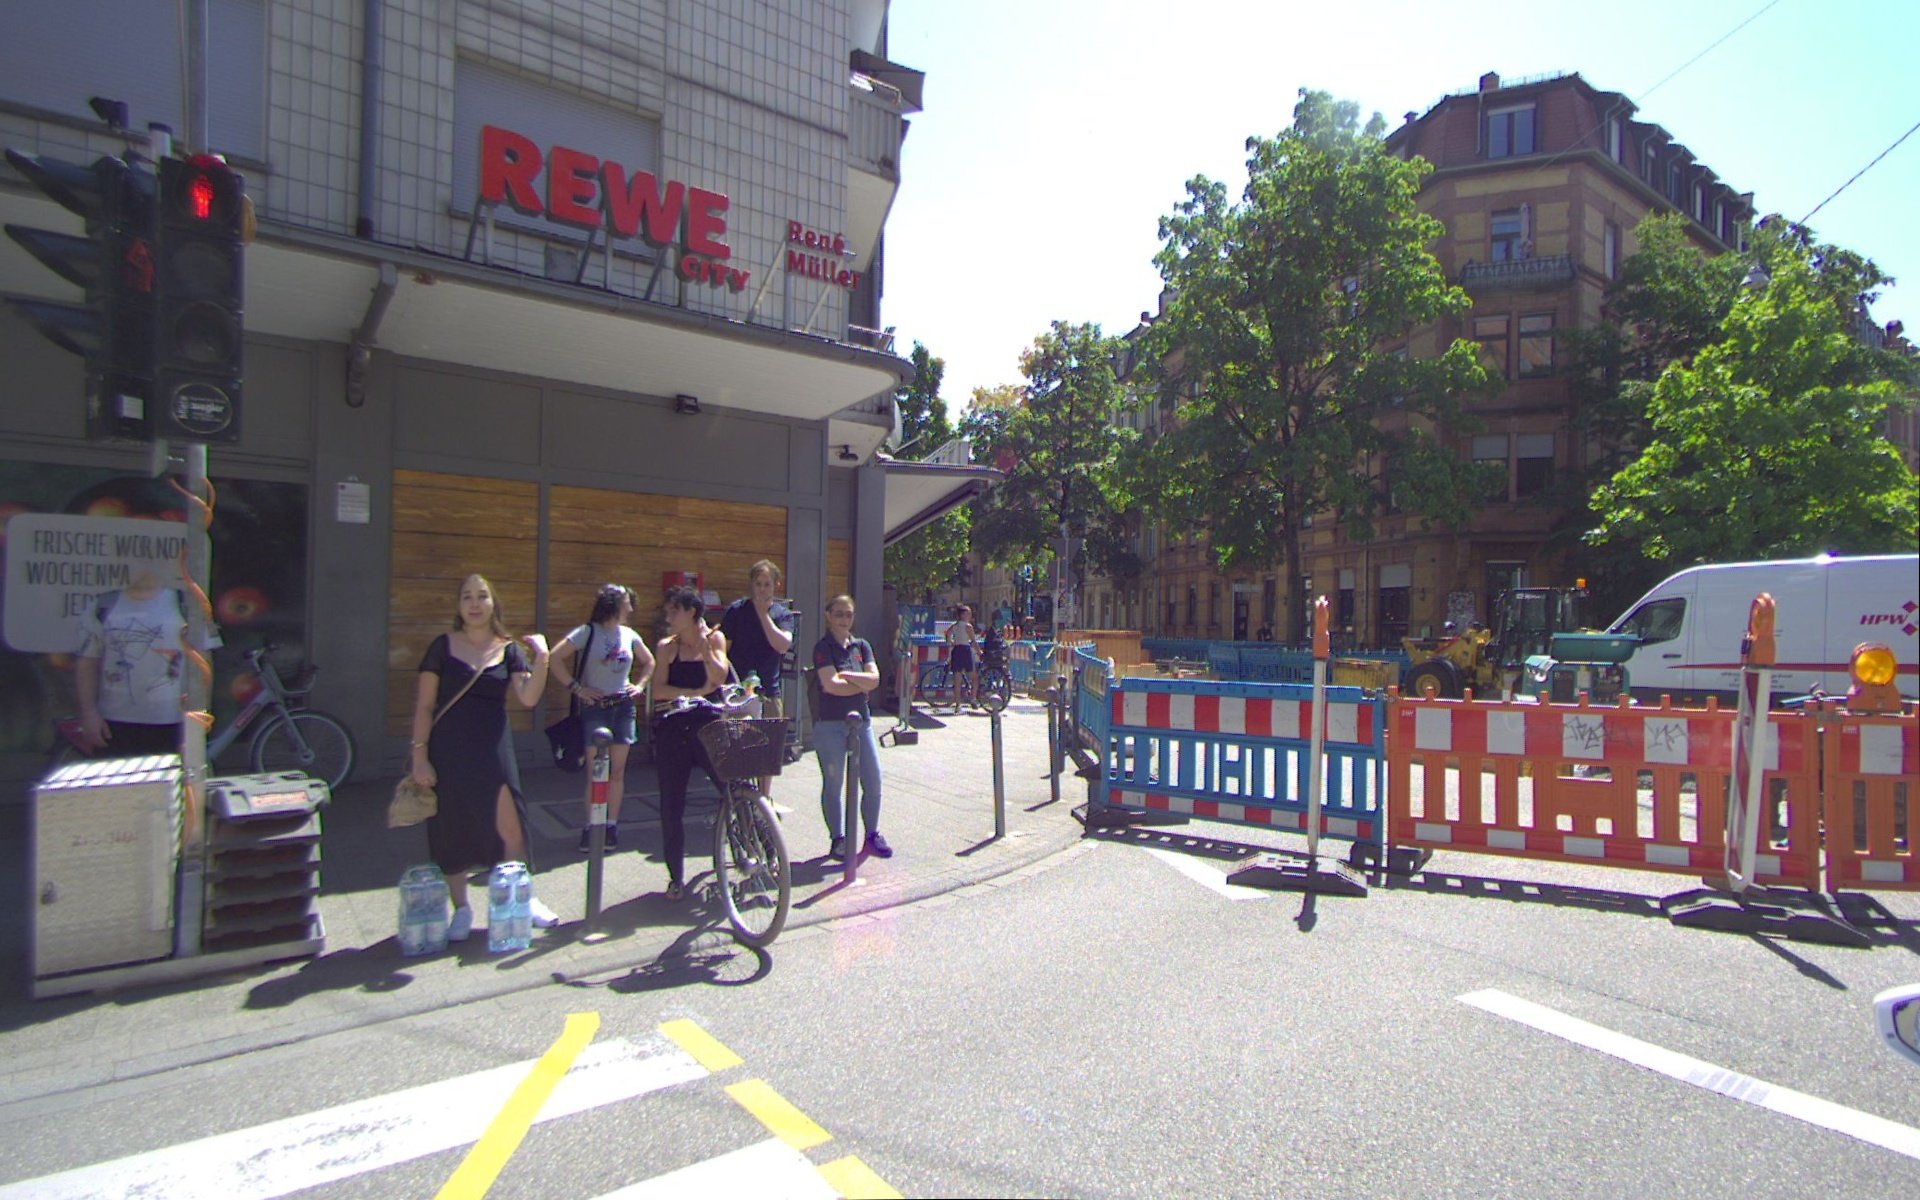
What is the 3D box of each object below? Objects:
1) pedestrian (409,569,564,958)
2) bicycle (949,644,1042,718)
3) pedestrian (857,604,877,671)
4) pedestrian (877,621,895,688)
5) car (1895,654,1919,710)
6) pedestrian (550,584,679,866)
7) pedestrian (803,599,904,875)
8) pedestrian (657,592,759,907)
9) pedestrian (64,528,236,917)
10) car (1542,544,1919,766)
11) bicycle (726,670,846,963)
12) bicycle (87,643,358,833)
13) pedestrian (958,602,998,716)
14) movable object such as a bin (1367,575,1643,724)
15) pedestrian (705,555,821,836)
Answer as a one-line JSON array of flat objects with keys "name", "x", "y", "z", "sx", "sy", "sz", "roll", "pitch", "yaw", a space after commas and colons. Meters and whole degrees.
[{"name": "pedestrian", "x": -2.199, "y": 0.706, "z": 4.661, "sx": 0.507, "sy": 1.654, "sz": 0.537, "roll": 2, "pitch": -2, "yaw": -38}, {"name": "bicycle", "x": 0.543, "y": 1.260, "z": 15.882, "sx": 1.550, "sy": 1.086, "sz": 0.341, "roll": 0, "pitch": -2, "yaw": 38}, {"name": "pedestrian", "x": -2.856, "y": 1.149, "z": 30.738, "sx": 0.536, "sy": 2.040, "sz": 0.412, "roll": 1, "pitch": -1, "yaw": -11}, {"name": "pedestrian", "x": -2.274, "y": 1.670, "z": 30.885, "sx": 0.496, "sy": 2.040, "sz": 0.445, "roll": 1, "pitch": -1, "yaw": -11}, {"name": "car", "x": 27.173, "y": 2.259, "z": 25.937, "sx": 3.922, "sy": 1.431, "sz": 1.971, "roll": 2, "pitch": 0, "yaw": 22}, {"name": "pedestrian", "x": -2.160, "y": 0.744, "z": 6.282, "sx": 0.594, "sy": 1.654, "sz": 0.505, "roll": 2, "pitch": -2, "yaw": -38}, {"name": "pedestrian", "x": -0.664, "y": 0.823, "z": 6.273, "sx": 0.471, "sy": 1.639, "sz": 0.386, "roll": 2, "pitch": -2, "yaw": -38}, {"name": "pedestrian", "x": -1.328, "y": 0.759, "z": 5.350, "sx": 0.451, "sy": 1.586, "sz": 0.496, "roll": 1, "pitch": 1, "yaw": -10}, {"name": "pedestrian", "x": -4.028, "y": 0.574, "z": 5.024, "sx": 0.594, "sy": 1.794, "sz": 0.505, "roll": 2, "pitch": -2, "yaw": -38}, {"name": "car", "x": 12.357, "y": 0.707, "z": 14.369, "sx": 2.356, "sy": 2.788, "sz": 6.579, "roll": 2, "pitch": 0, "yaw": -34}, {"name": "bicycle", "x": -0.963, "y": 1.005, "z": 5.276, "sx": 0.460, "sy": 1.134, "sz": 1.805, "roll": 1, "pitch": 0, "yaw": -14}, {"name": "bicycle", "x": -4.874, "y": 0.860, "z": 6.726, "sx": 0.316, "sy": 1.101, "sz": 1.428, "roll": 1, "pitch": 0, "yaw": 35}, {"name": "pedestrian", "x": 0.279, "y": 0.908, "z": 15.628, "sx": 0.578, "sy": 1.738, "sz": 0.390, "roll": 1, "pitch": -1, "yaw": 3}, {"name": "movable object such as a bin", "x": 10.974, "y": 0.887, "z": 20.522, "sx": 1.938, "sy": 2.694, "sz": 4.506, "roll": 2, "pitch": 0, "yaw": -39}, {"name": "pedestrian", "x": -1.369, "y": 0.635, "z": 6.980, "sx": 0.594, "sy": 1.844, "sz": 0.505, "roll": 2, "pitch": -2, "yaw": -38}]
